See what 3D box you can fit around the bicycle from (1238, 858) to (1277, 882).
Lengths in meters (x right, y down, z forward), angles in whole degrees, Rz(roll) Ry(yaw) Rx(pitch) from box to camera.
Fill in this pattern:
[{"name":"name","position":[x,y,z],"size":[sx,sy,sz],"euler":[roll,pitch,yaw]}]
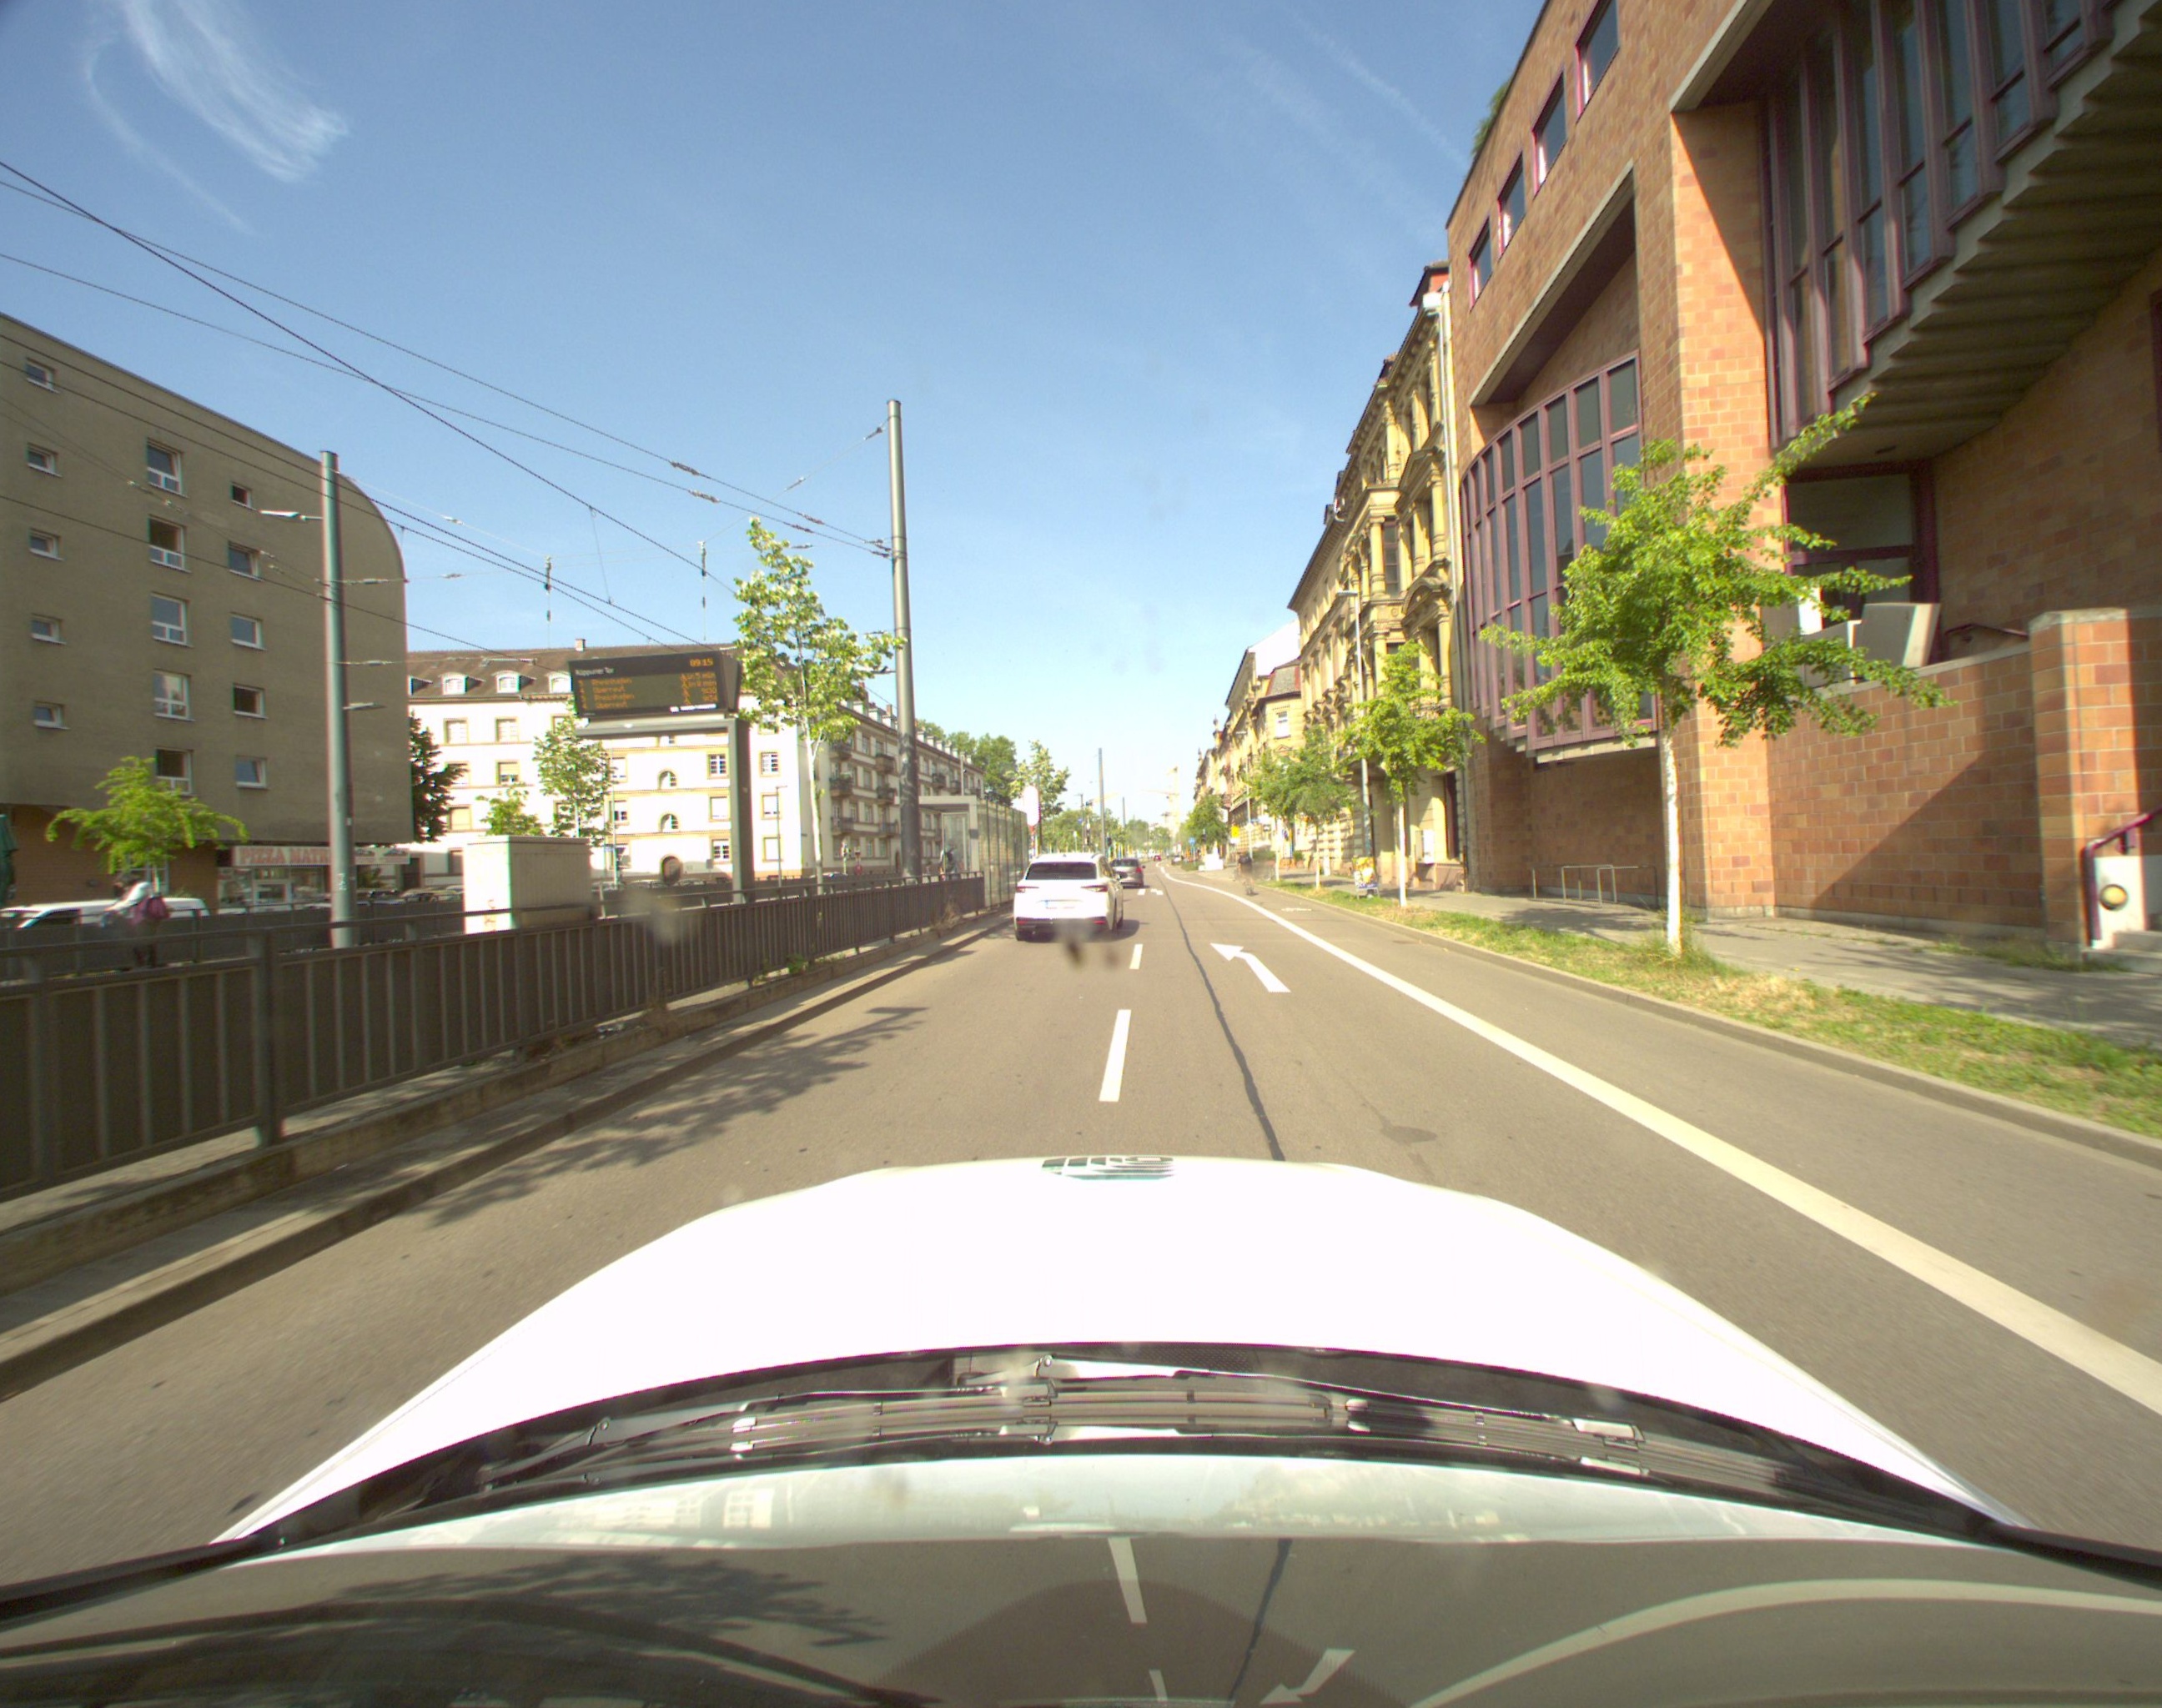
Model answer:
[{"name":"bicycle","position":[9.016,0.812,41.585],"size":[1.752,1.087,0.610],"euler":[-5,-1,-4]}]

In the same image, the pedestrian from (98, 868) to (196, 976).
[{"name":"pedestrian","position":[-14.012,0.995,12.245],"size":[0.679,1.530,0.805],"euler":[-2,-1,-26]}]

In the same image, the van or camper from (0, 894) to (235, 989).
[{"name":"van or camper","position":[-25.422,2.192,21.335],"size":[1.981,2.013,4.011],"euler":[-3,0,10]}]

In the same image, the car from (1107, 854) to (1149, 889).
[{"name":"car","position":[2.272,0.791,38.575],"size":[1.745,1.484,4.413],"euler":[-2,0,6]}]

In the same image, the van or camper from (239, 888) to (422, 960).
[{"name":"van or camper","position":[-24.391,2.199,26.683],"size":[1.918,1.968,4.011],"euler":[-2,0,10]}]

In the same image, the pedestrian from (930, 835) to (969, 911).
[{"name":"pedestrian","position":[-3.529,0.503,21.979],"size":[0.830,2.014,1.028],"euler":[0,-1,2]}]

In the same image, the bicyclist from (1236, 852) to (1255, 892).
[{"name":"bicyclist","position":[6.124,0.668,30.338],"size":[0.581,1.482,0.932],"euler":[-1,-1,3]}]

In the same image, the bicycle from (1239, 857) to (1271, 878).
[{"name":"bicycle","position":[10.165,0.769,47.635],"size":[1.742,1.087,0.584],"euler":[-4,-1,8]}]

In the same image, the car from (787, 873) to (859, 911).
[{"name":"car","position":[-14.309,2.086,45.445],"size":[1.983,1.805,4.641],"euler":[-3,0,7]}]

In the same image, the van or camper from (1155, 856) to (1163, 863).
[{"name":"van or camper","position":[19.935,1.393,208.123],"size":[1.984,1.655,4.005],"euler":[-3,-1,5]}]

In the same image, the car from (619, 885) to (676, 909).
[{"name":"car","position":[-29.332,2.882,55.258],"size":[1.667,1.405,3.999],"euler":[-3,0,0]}]

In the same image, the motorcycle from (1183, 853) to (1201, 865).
[{"name":"motorcycle","position":[13.732,0.614,100.848],"size":[2.047,1.287,0.699],"euler":[-4,0,-29]}]

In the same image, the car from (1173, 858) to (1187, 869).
[{"name":"car","position":[15.539,1.433,127.833],"size":[1.763,1.588,4.250],"euler":[-3,0,2]}]

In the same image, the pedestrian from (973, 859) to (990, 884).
[{"name":"pedestrian","position":[-7.707,1.328,63.172],"size":[1.072,1.867,0.857],"euler":[-2,-1,-22]}]

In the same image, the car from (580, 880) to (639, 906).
[{"name":"car","position":[-32.309,2.666,55.931],"size":[1.667,1.532,3.925],"euler":[-3,0,0]}]

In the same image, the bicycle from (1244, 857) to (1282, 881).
[{"name":"bicycle","position":[9.619,0.777,43.110],"size":[1.752,1.087,0.657],"euler":[-5,-1,-4]}]

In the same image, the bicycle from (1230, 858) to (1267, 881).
[{"name":"bicycle","position":[9.107,0.828,44.290],"size":[1.760,1.087,0.668],"euler":[-5,-1,-18]}]

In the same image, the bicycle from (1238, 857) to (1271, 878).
[{"name":"bicycle","position":[10.028,0.761,47.042],"size":[1.742,1.087,0.584],"euler":[-4,-1,8]}]

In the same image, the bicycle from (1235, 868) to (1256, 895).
[{"name":"bicycle","position":[6.142,1.022,30.438],"size":[0.503,0.953,1.786],"euler":[-1,-1,3]}]

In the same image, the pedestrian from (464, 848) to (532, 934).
[{"name":"pedestrian","position":[-13.089,0.815,18.299],"size":[0.735,1.872,0.941],"euler":[-2,-1,8]}]

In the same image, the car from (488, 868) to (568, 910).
[{"name":"car","position":[-37.179,2.314,54.949],"size":[1.988,2.583,5.050],"euler":[-3,0,-2]}]

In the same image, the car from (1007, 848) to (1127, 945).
[{"name":"car","position":[-0.126,0.735,16.001],"size":[1.808,1.590,4.413],"euler":[-2,0,6]}]

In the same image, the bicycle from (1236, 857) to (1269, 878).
[{"name":"bicycle","position":[9.655,0.755,45.812],"size":[1.744,1.087,0.670],"euler":[-5,-1,10]}]

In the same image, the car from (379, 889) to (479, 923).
[{"name":"car","position":[-35.044,2.776,43.892],"size":[1.985,1.508,4.003],"euler":[-3,0,3]}]
